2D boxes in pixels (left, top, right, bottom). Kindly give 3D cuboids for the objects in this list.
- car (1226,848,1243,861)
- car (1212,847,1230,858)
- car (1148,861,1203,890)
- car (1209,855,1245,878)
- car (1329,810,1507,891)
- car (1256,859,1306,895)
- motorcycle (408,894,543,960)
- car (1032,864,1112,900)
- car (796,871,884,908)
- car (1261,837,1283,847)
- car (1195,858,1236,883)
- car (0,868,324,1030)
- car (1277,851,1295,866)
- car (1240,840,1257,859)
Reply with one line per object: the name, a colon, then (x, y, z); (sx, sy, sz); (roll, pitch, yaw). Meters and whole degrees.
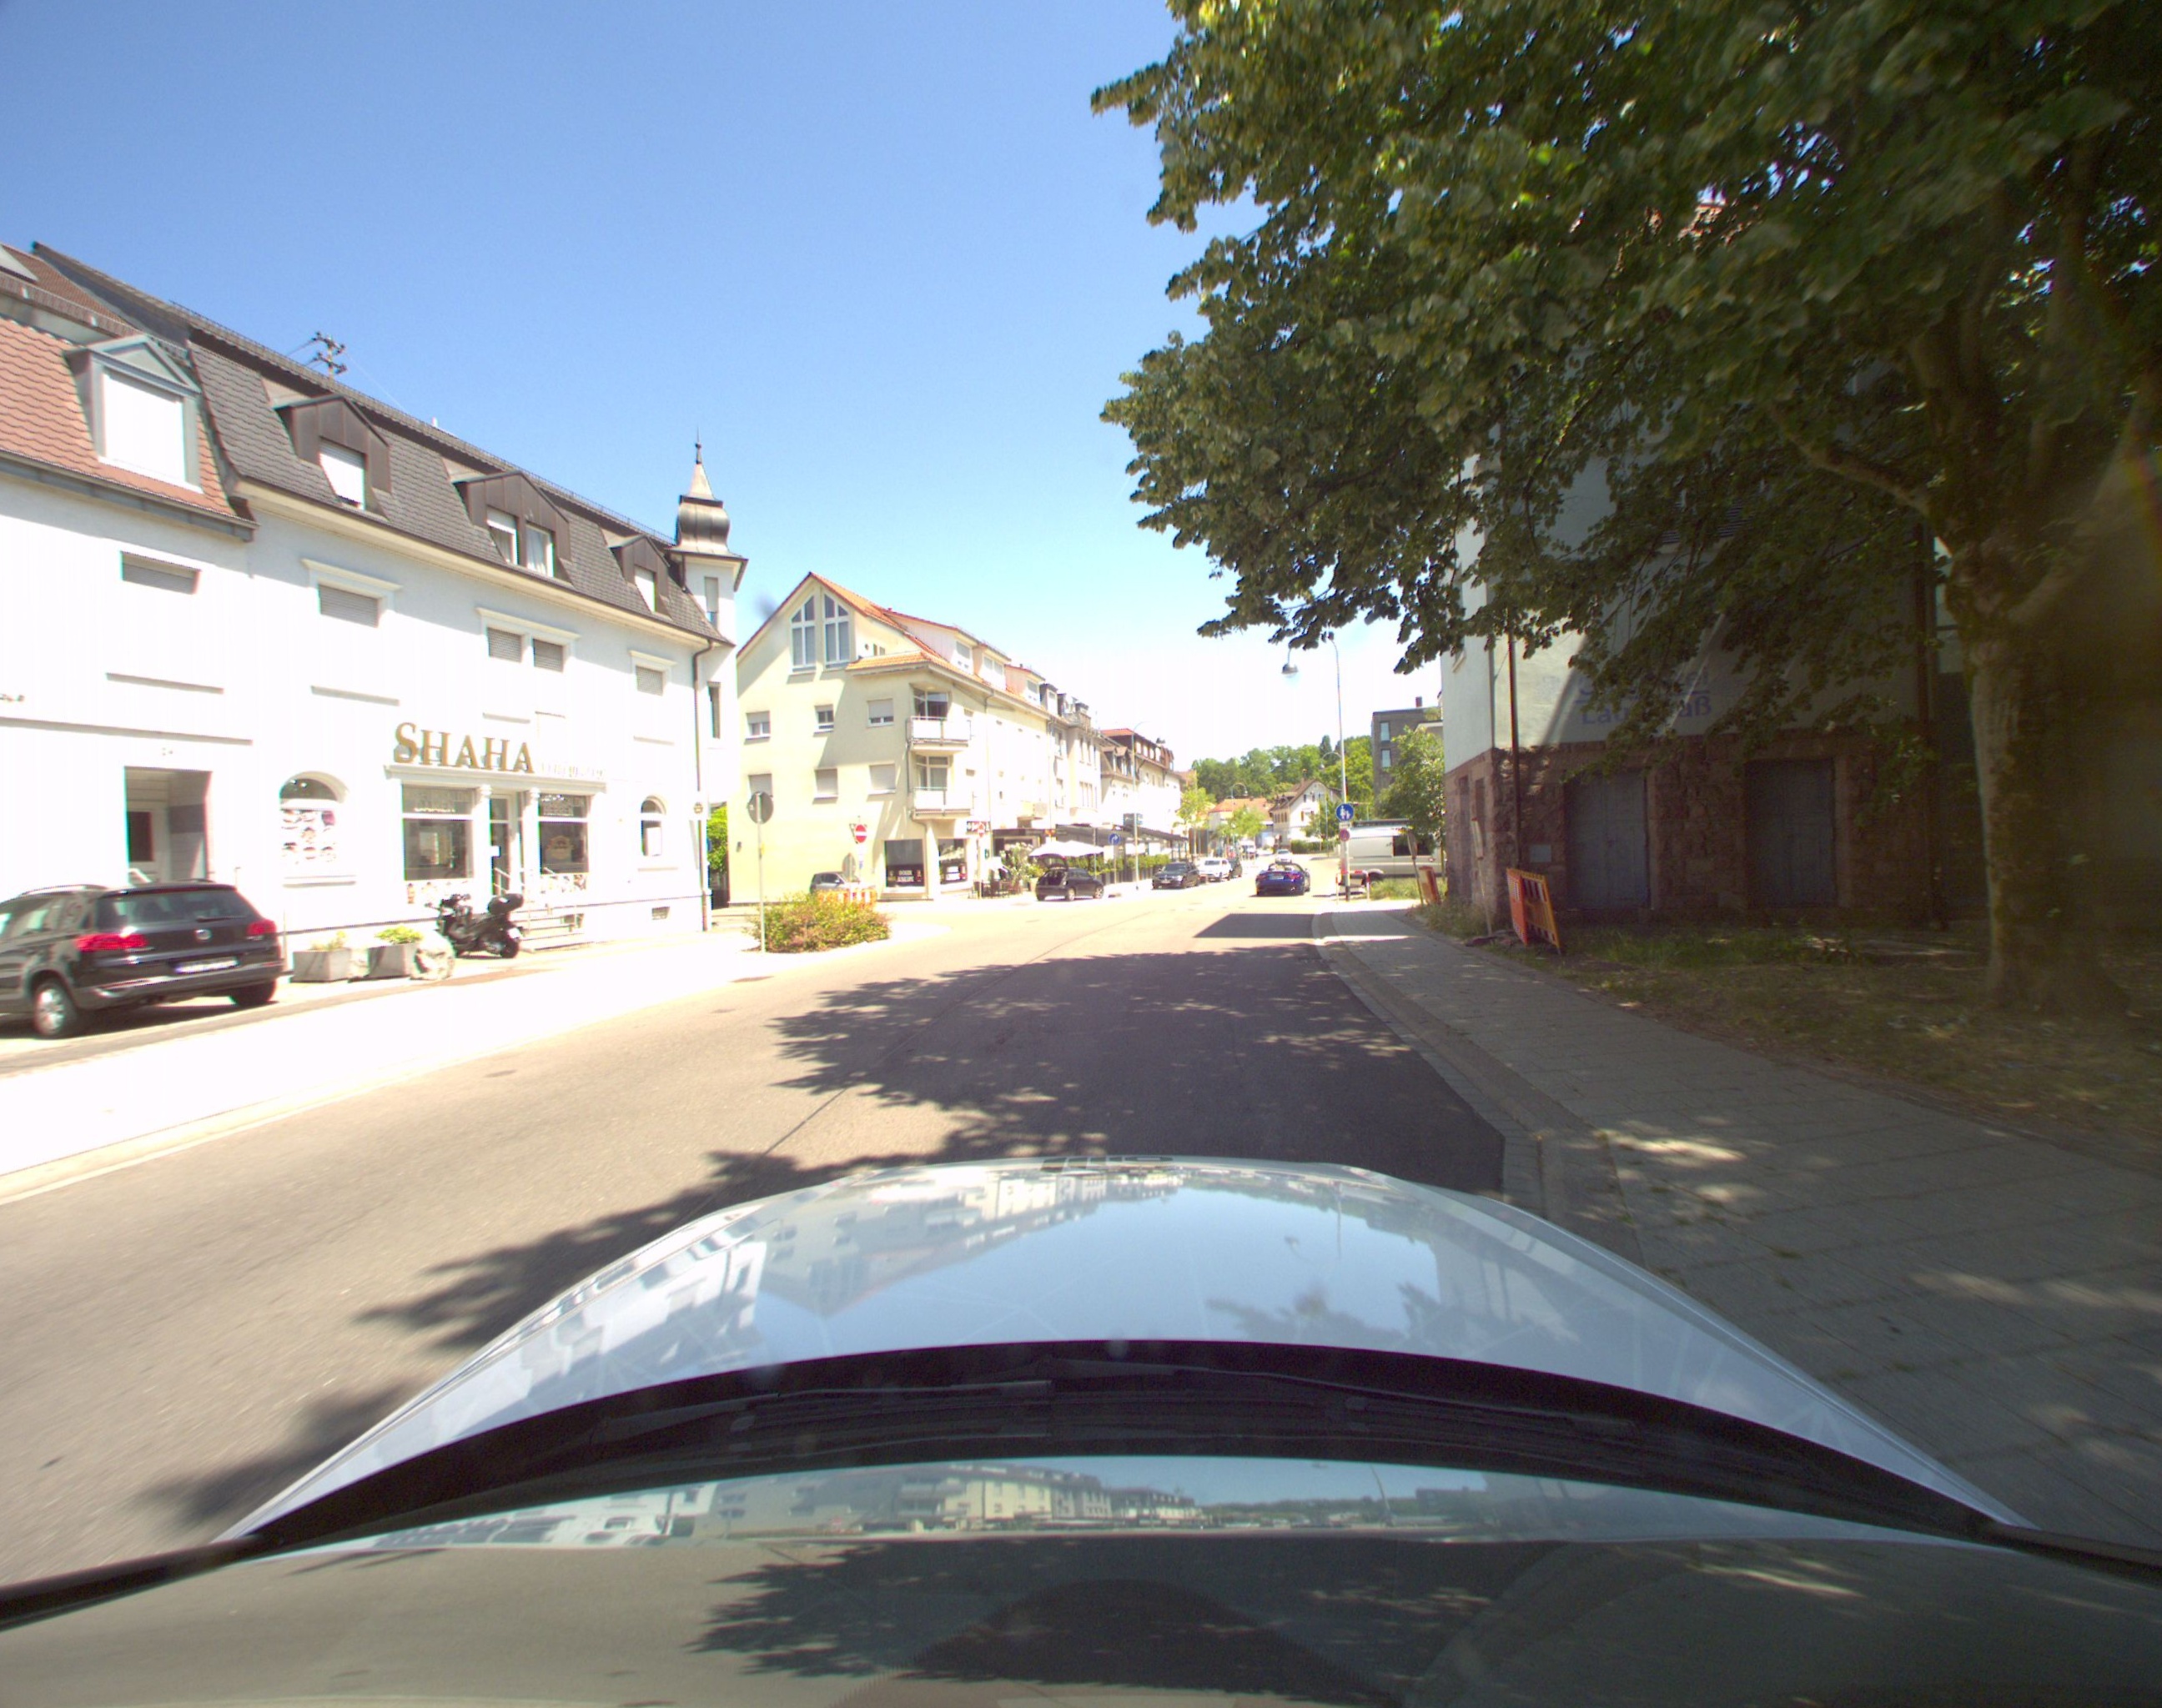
car: (22.032, 0.133, 116.801); (1.983, 1.738, 4.007); (-3, -1, 6)
car: (22.204, -0.204, 129.211); (1.987, 1.692, 3.999); (-2, 0, 0)
car: (5.353, 1.151, 45.682); (1.818, 1.429, 4.808); (-1, 1, 22)
car: (10.415, 0.873, 57.767); (1.655, 1.443, 4.031); (-2, 0, 22)
car: (12.485, -0.086, 30.567); (5.891, 2.732, 2.207); (-2, -1, 19)
car: (8.487, 0.940, 34.338); (1.856, 1.342, 4.615); (-1, 0, 16)
motorcycle: (-11.869, 1.429, 15.970); (2.376, 1.217, 0.837); (-2, -1, 16)
car: (-0.311, 1.187, 36.050); (1.696, 1.460, 4.155); (0, 0, 29)
car: (-10.681, 1.553, 36.132); (3.239, 1.458, 1.699); (-2, 0, 14)
car: (40.790, -2.482, 173.837); (4.279, 2.014, 1.983); (-1, -3, -25)
car: (8.699, 1.041, 52.614); (1.630, 1.479, 3.963); (0, 1, 24)
car: (-12.038, 1.096, 10.044); (4.150, 1.662, 1.979); (-2, 0, 14)
car: (22.397, 0.503, 88.974); (1.674, 1.458, 4.075); (-4, -1, 15)
car: (22.102, -0.559, 107.530); (1.856, 2.400, 4.829); (-2, 0, 8)
